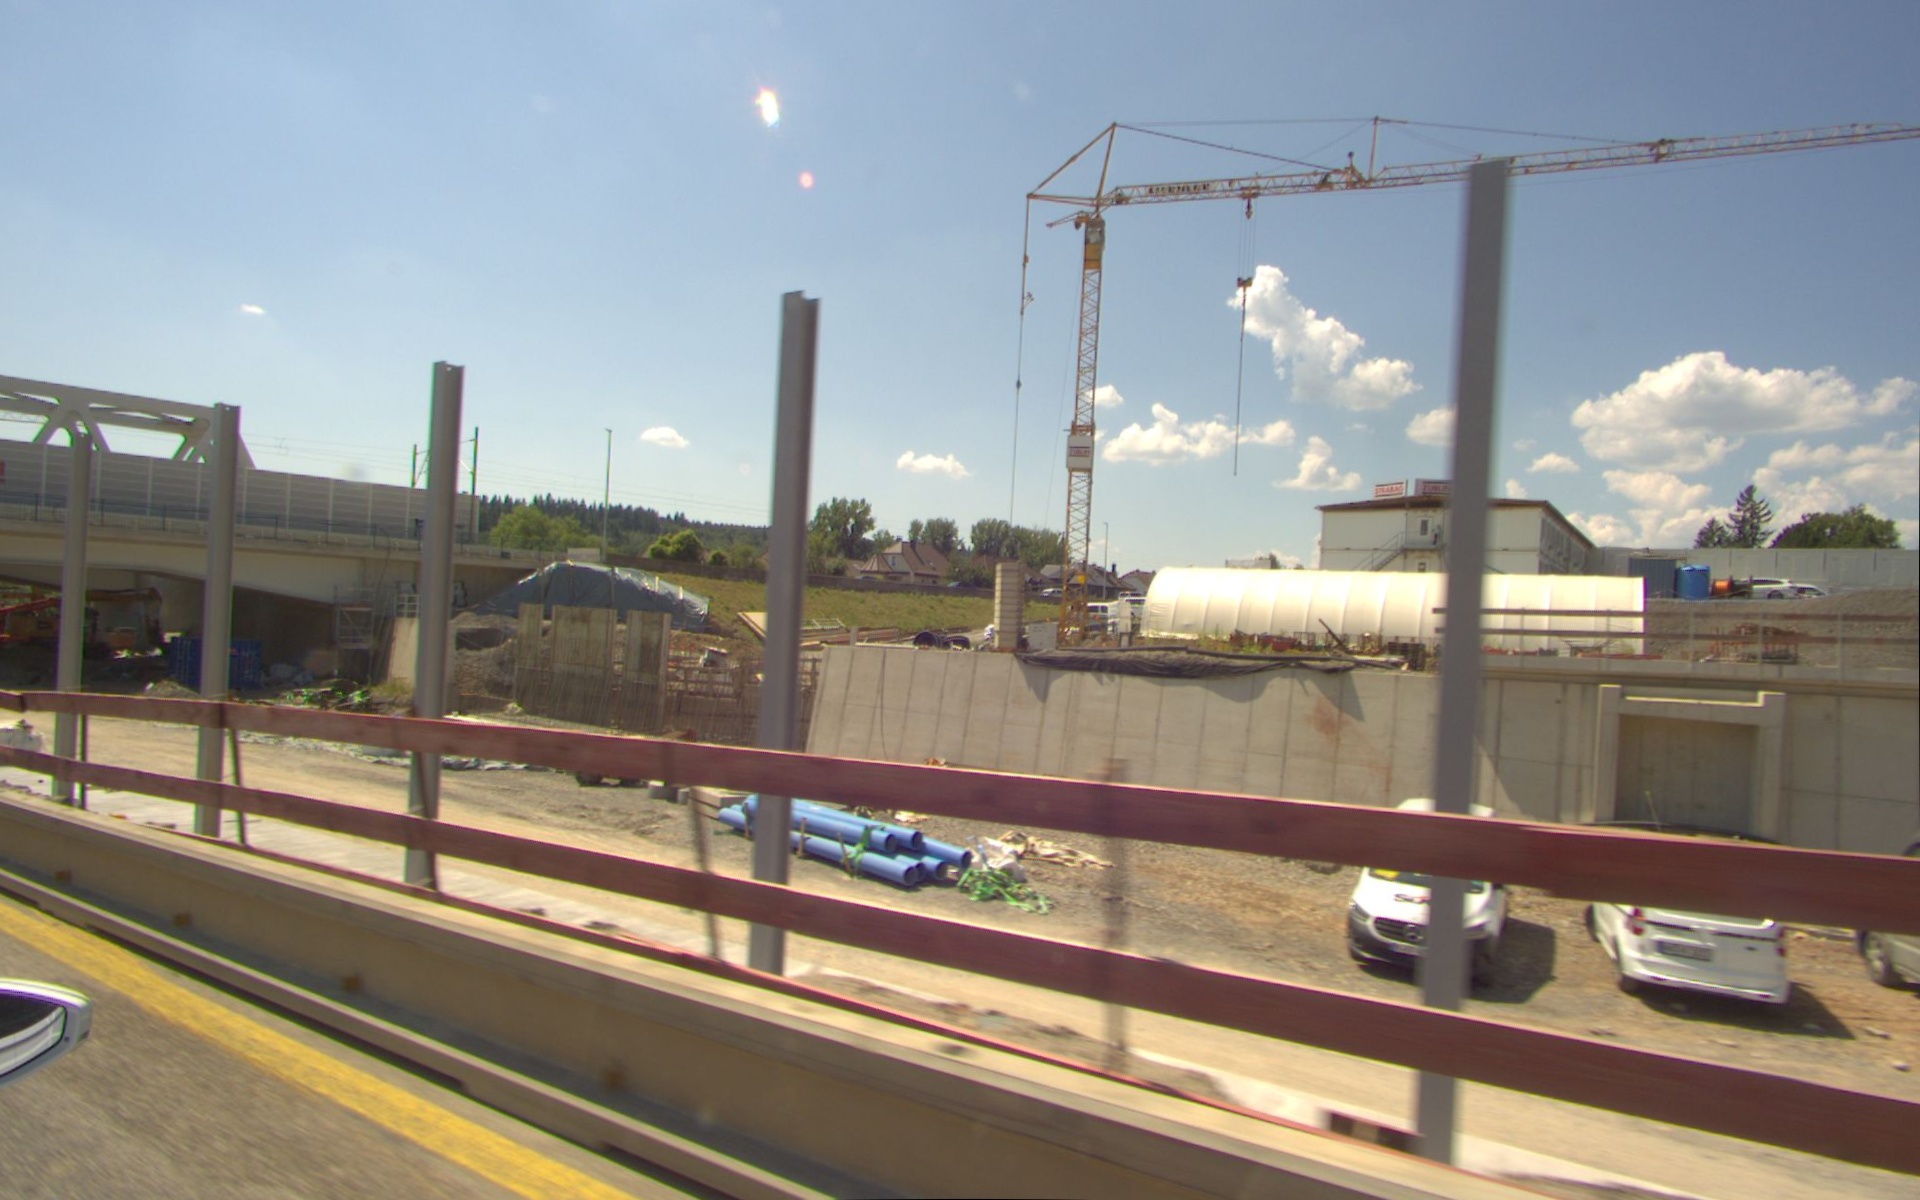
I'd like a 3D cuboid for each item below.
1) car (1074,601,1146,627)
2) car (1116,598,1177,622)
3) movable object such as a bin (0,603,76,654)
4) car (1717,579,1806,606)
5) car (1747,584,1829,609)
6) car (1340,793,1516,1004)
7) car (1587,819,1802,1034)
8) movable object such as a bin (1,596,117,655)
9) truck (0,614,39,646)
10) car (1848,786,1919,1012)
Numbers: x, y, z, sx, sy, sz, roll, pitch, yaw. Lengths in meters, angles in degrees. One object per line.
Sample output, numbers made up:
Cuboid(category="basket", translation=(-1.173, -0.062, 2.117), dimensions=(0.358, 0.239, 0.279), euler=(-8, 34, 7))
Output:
Cuboid(category="car", translation=(12.071, 1.134, 80.786), dimensions=(5.499, 1.984, 1.988), euler=(-1, -2, 36))
Cuboid(category="car", translation=(16.486, 0.897, 88.567), dimensions=(4.921, 1.984, 1.988), euler=(-1, -2, 36))
Cuboid(category="movable object such as a bin", translation=(-59.936, 1.826, 63.609), dimensions=(2.464, 3.094, 5.227), euler=(-1, -4, 36))
Cuboid(category="car", translation=(49.103, -0.444, 61.460), dimensions=(4.160, 1.505, 1.719), euler=(-1, -2, 37))
Cuboid(category="car", translation=(56.801, -0.217, 68.821), dimensions=(4.157, 1.505, 1.721), euler=(-1, -2, 34))
Cuboid(category="car", translation=(6.845, 4.014, 14.338), dimensions=(1.695, 1.791, 4.785), euler=(2, -3, 32))
Cuboid(category="car", translation=(9.550, 4.120, 13.328), dimensions=(1.666, 1.706, 3.861), euler=(0, -3, 27))
Cuboid(category="movable object such as a bin", translation=(-53.817, 1.583, 59.893), dimensions=(2.951, 3.327, 4.543), euler=(-1, -4, 36))
Cuboid(category="truck", translation=(-67.760, 1.988, 68.533), dimensions=(2.629, 2.099, 6.507), euler=(1, -2, 35))
Cuboid(category="car", translation=(12.456, 3.706, 10.760), dimensions=(2.018, 2.612, 6.304), euler=(2, -4, 19))
